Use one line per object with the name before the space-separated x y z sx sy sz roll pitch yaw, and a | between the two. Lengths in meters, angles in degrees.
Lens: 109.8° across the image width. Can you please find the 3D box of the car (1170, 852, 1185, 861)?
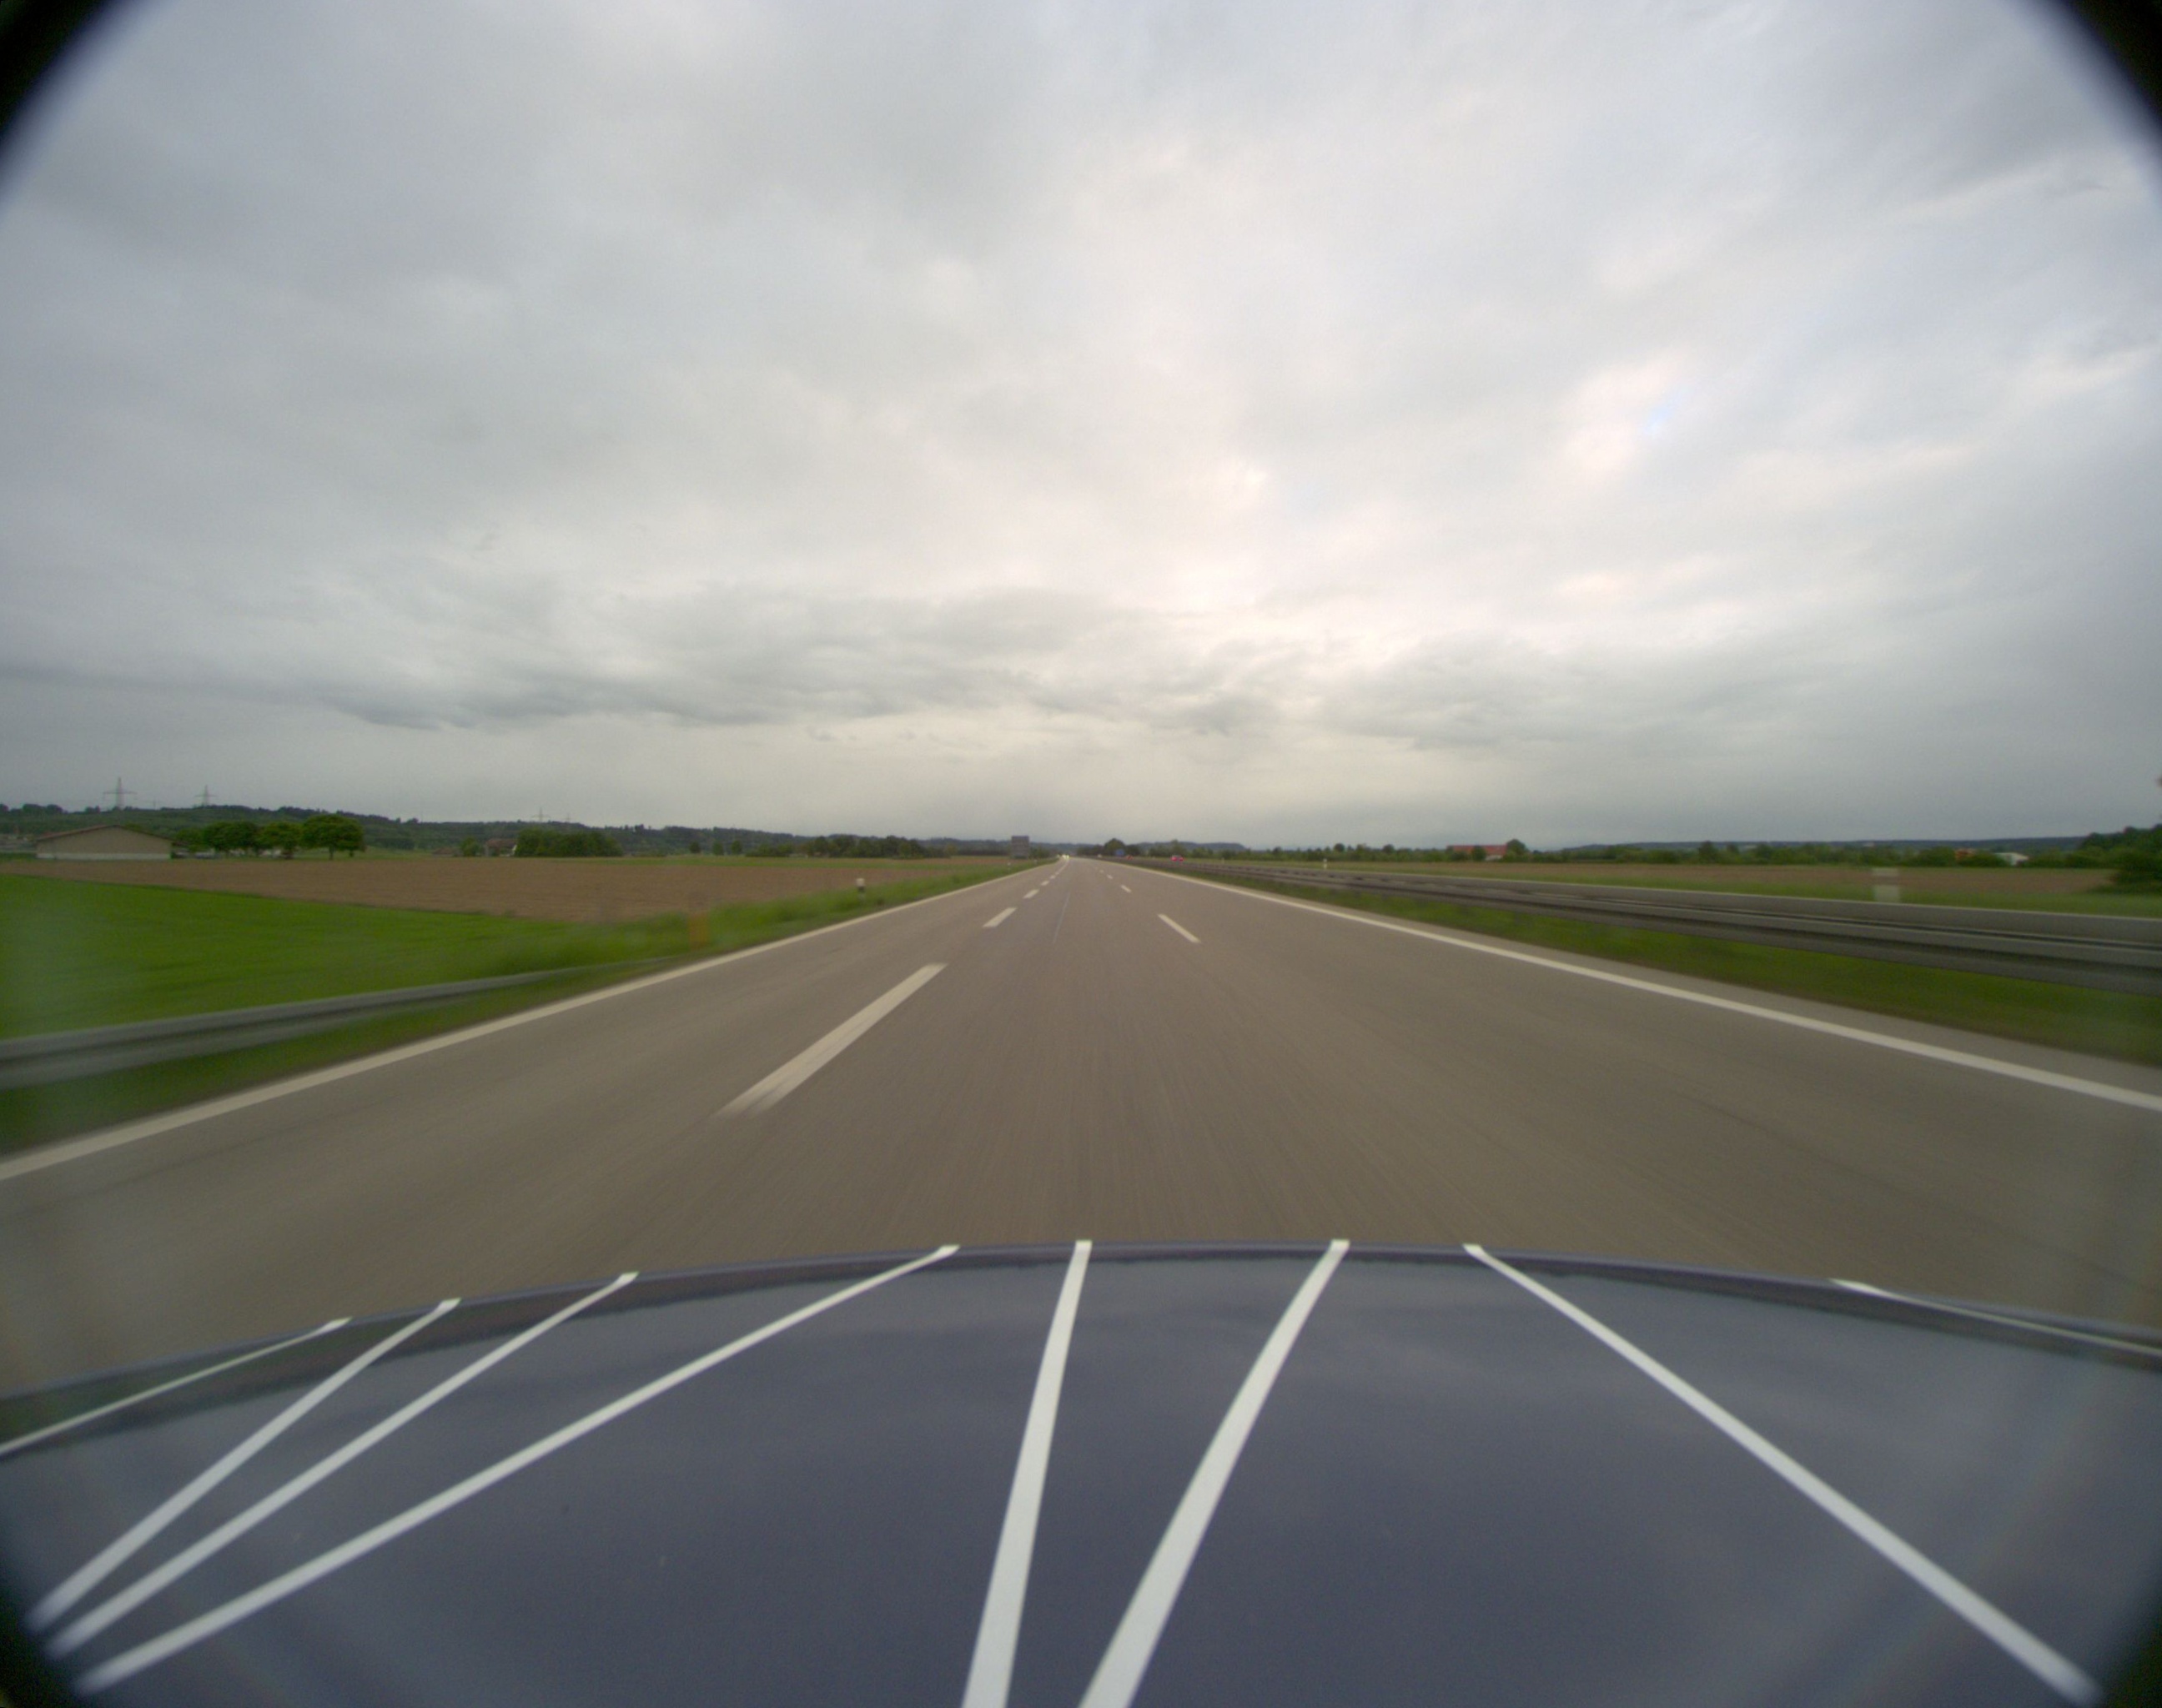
car | 17.154 0.470 134.815 1.998 1.408 4.523 -2 0 0

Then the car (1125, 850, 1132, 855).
car | 15.067 -0.461 241.429 1.999 1.471 4.451 -2 0 0
